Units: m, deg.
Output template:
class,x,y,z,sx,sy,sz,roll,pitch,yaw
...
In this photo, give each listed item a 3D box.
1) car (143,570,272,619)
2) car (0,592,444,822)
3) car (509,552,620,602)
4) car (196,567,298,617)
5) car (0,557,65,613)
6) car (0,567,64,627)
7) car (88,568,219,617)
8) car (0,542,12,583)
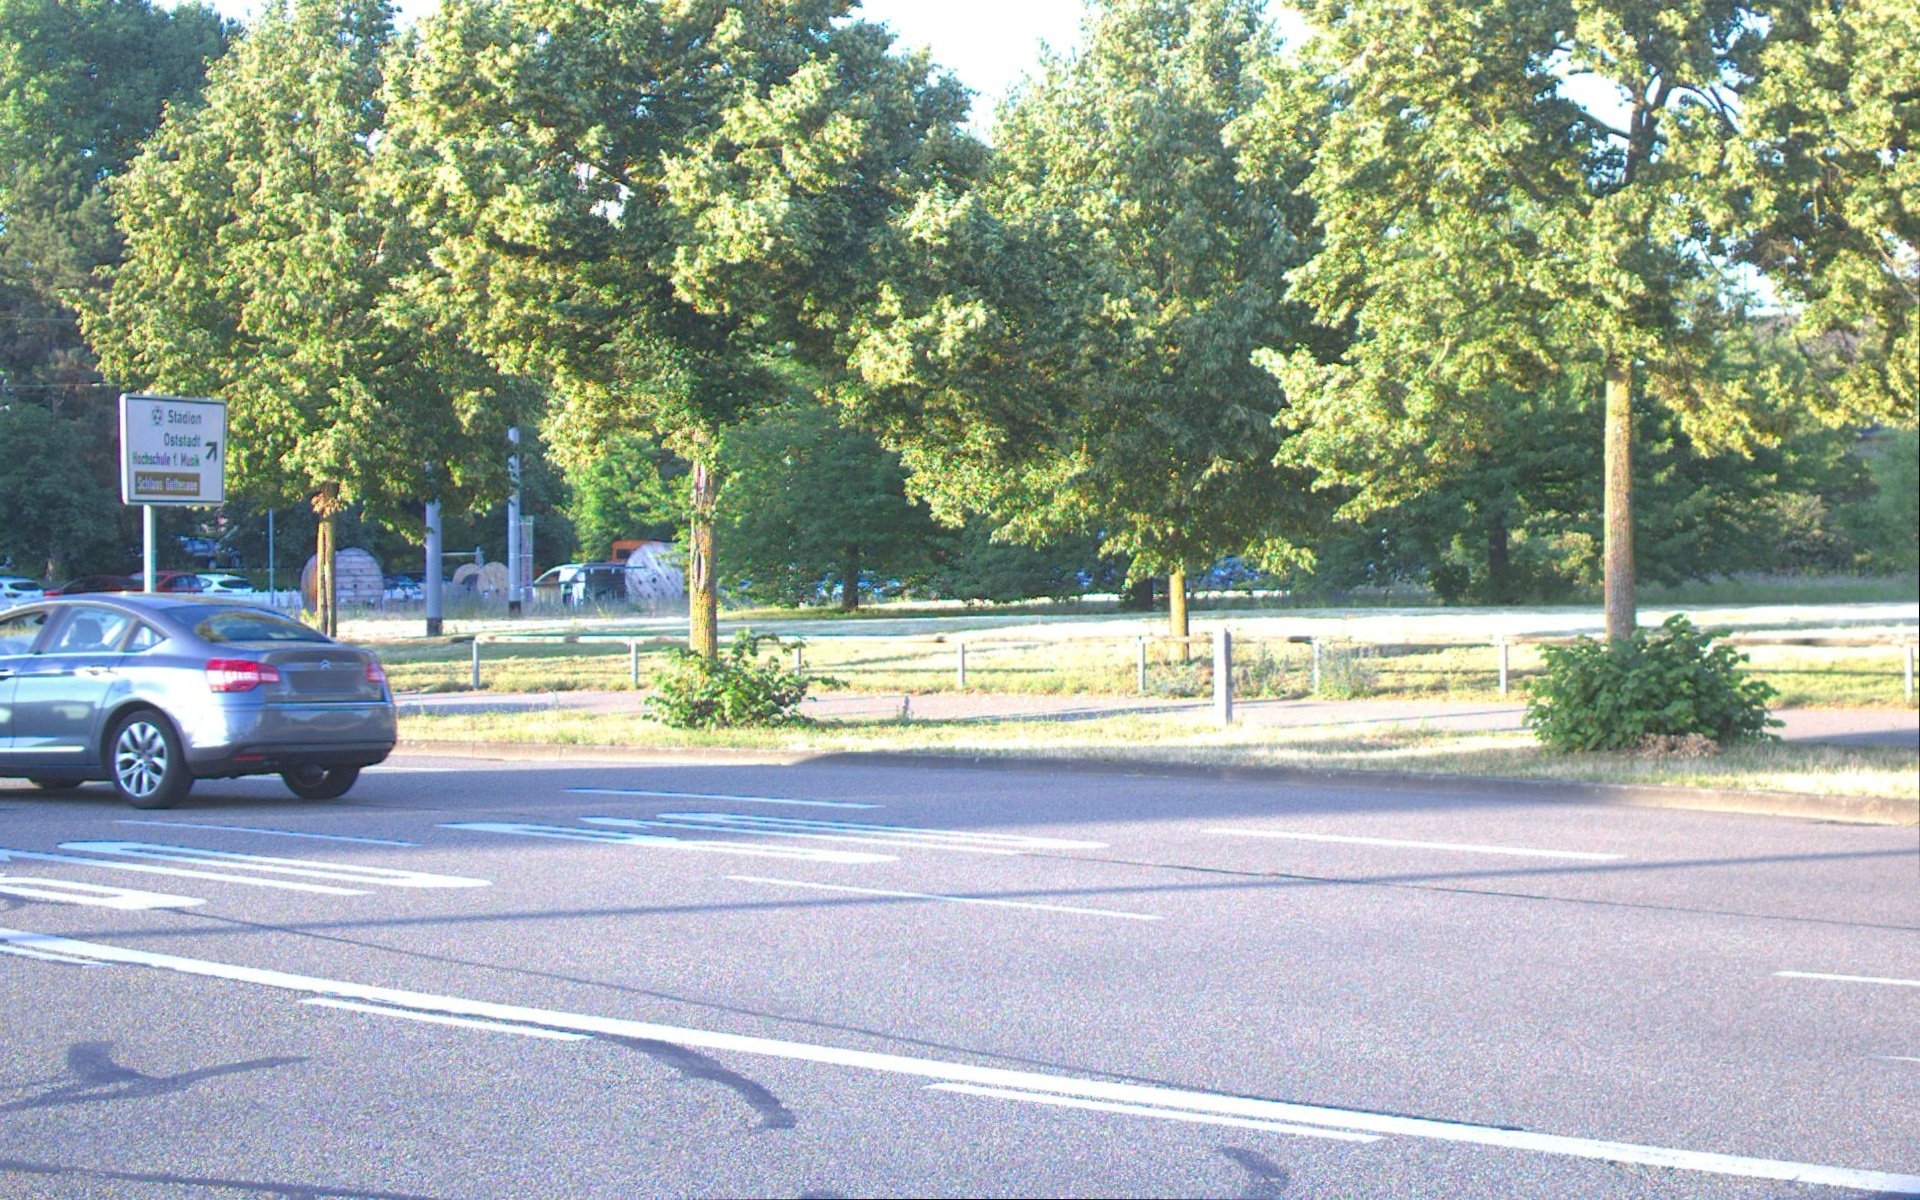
class,x,y,z,sx,sy,sz,roll,pitch,yaw
car,-25.370,-0.208,115.827,3.994,1.598,1.996,0,1,33
car,-6.075,0.694,24.482,4.664,1.459,1.883,0,1,33
car,-13.228,-0.778,114.885,1.734,1.612,3.998,-1,1,-41
car,-26.818,-0.324,129.306,1.994,1.746,4.597,-1,2,-37
car,-35.232,-0.554,125.809,4.582,2.007,2.001,-1,1,-9
car,-33.147,-0.096,117.676,4.582,2.007,2.001,-1,1,-9
car,-26.774,-0.264,114.097,3.994,1.598,1.996,0,1,33
car,-42.412,-1.580,145.366,3.988,1.700,2.000,0,1,7
